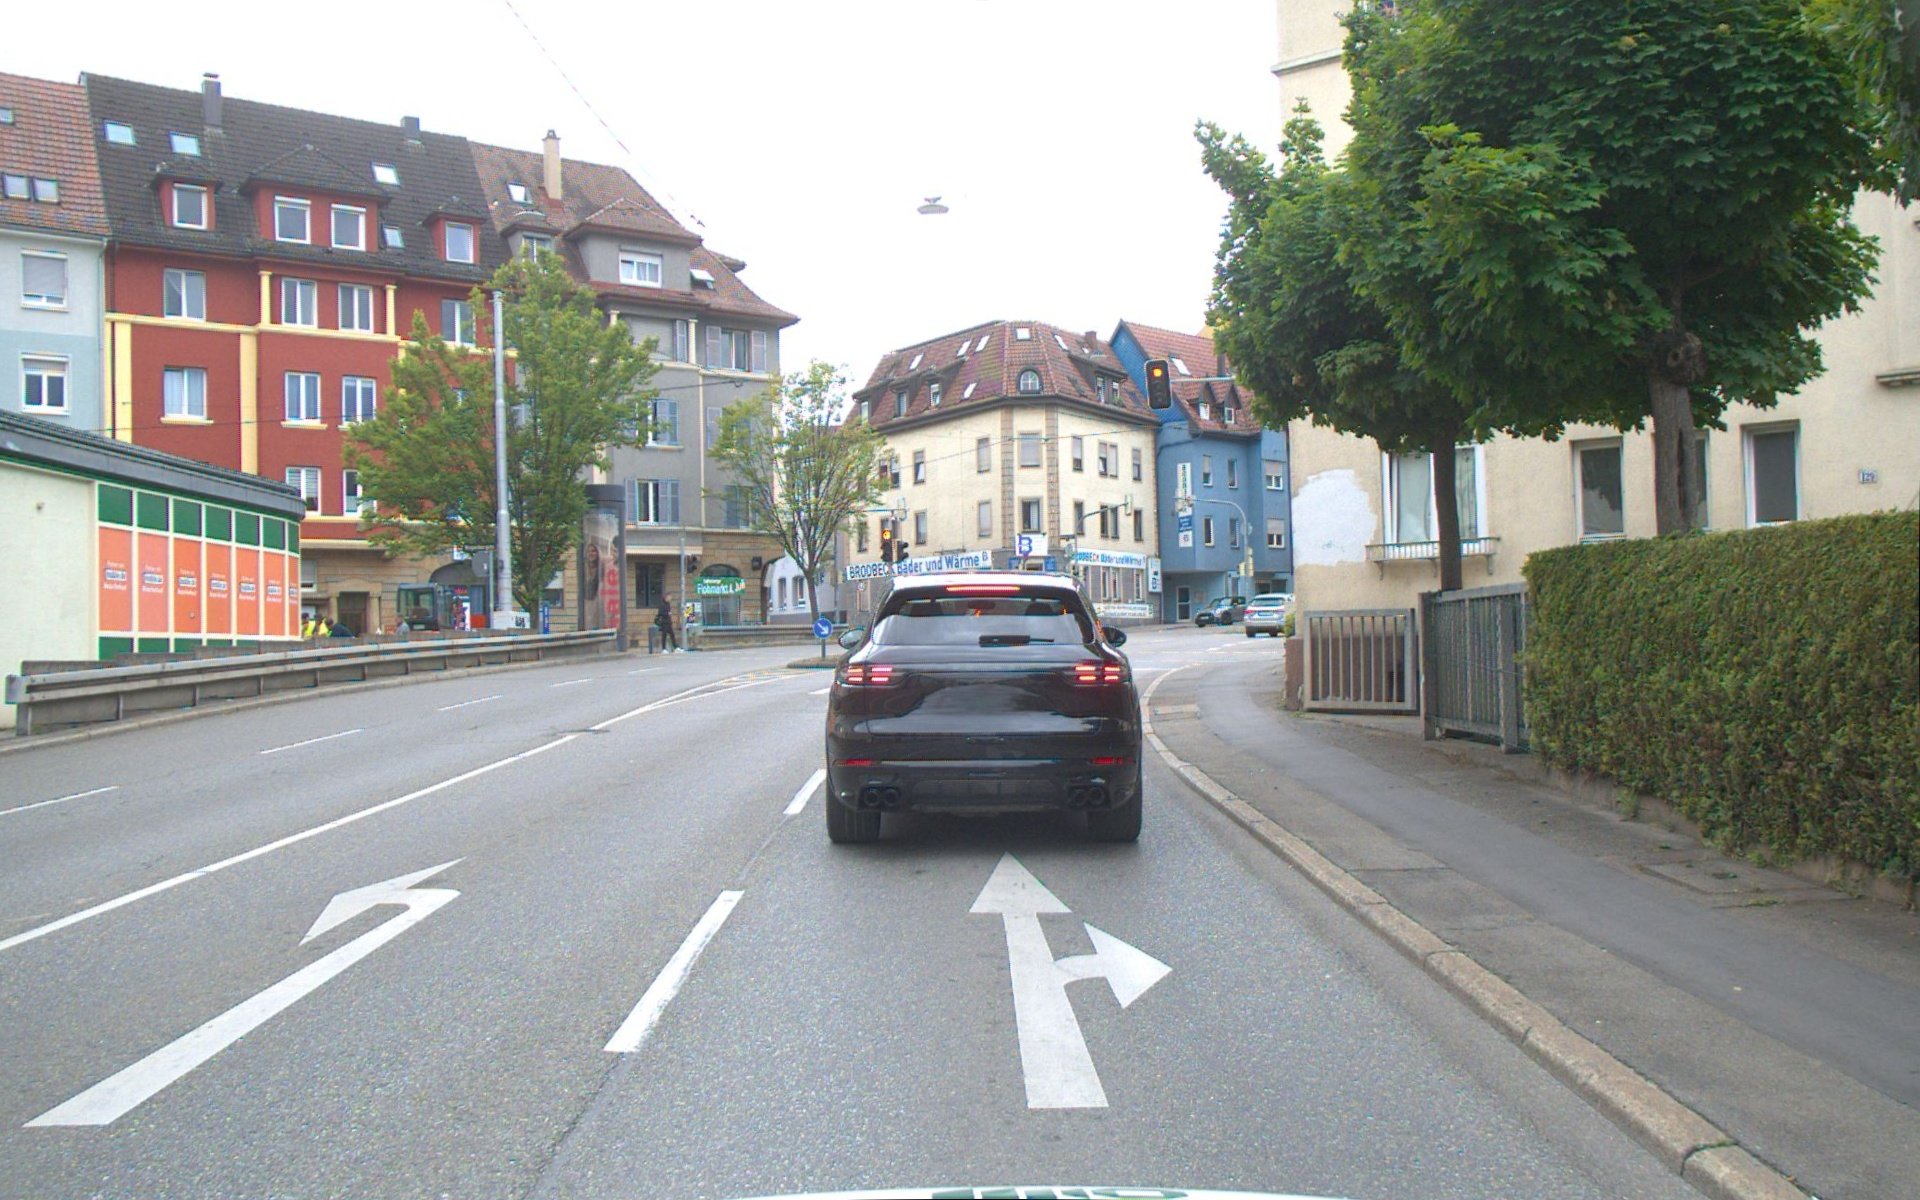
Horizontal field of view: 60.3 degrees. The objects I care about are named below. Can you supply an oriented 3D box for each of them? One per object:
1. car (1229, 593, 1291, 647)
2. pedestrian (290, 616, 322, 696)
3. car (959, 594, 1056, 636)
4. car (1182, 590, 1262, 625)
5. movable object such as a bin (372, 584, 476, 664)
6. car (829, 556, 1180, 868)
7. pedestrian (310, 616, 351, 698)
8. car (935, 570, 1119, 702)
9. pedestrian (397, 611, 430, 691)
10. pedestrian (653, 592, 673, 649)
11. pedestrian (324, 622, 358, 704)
[{"bbox_3d":[10.126,0.658,55.742,1.951,1.713,4.003,-1,0,11],"label":"car"},{"bbox_3d":[-14.697,1.248,37.163,0.473,1.760,0.534,1,-1,-44],"label":"pedestrian"},{"bbox_3d":[1.969,0.643,69.387,1.981,1.713,3.942,1,-1,-40],"label":"car"},{"bbox_3d":[13.405,0.389,84.658,3.963,1.713,1.971,-1,0,-41],"label":"car"},{"bbox_3d":[-12.782,0.559,39.632,1.868,1.802,3.989,1,0,-11],"label":"movable object such as a bin"},{"bbox_3d":[0.223,0.601,11.272,1.938,1.713,3.999,-1,1,-1],"label":"car"},{"bbox_3d":[-13.894,1.246,36.515,0.562,1.792,0.615,1,-1,37],"label":"pedestrian"},{"bbox_3d":[1.055,0.484,23.710,1.951,1.713,4.003,-1,0,12],"label":"car"},{"bbox_3d":[-12.108,1.124,36.636,0.536,1.760,0.587,1,-1,-32],"label":"pedestrian"},{"bbox_3d":[-9.146,0.630,50.941,0.503,1.760,0.451,1,-1,4],"label":"pedestrian"},{"bbox_3d":[-13.202,1.345,35.283,0.552,1.729,0.542,1,-1,-9],"label":"pedestrian"}]
